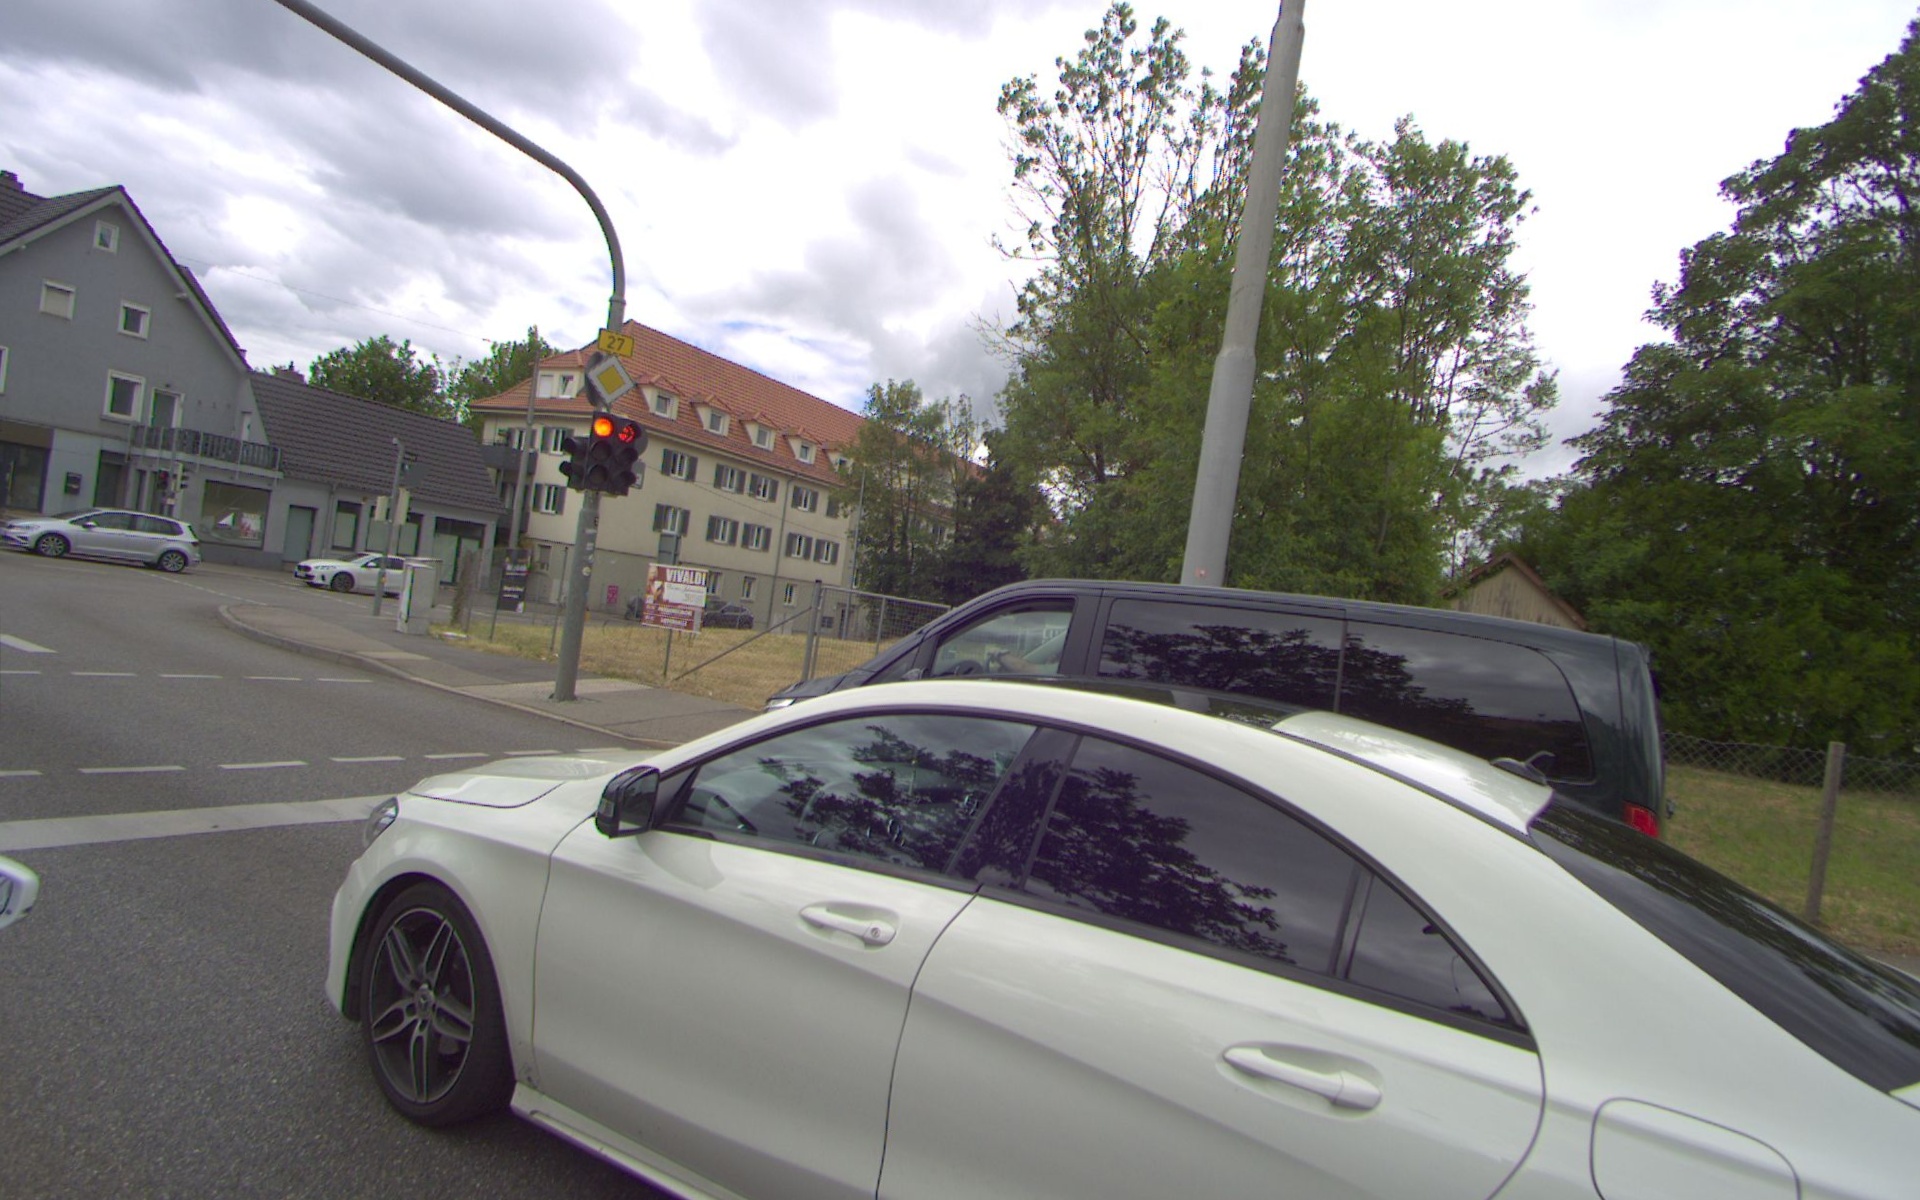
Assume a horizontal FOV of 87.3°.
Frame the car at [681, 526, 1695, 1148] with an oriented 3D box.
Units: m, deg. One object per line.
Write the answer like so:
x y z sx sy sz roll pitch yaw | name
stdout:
0.944 0.828 5.502 4.631 1.860 1.953 7 -2 32 | car

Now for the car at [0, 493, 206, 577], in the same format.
-24.051 -1.774 28.263 1.799 1.557 4.109 7 -3 33 | car

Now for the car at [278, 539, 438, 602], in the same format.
-20.677 -0.972 34.747 1.965 1.494 4.254 7 -2 27 | car

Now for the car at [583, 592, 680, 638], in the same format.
-15.519 0.740 47.657 1.839 1.554 3.996 7 -2 32 | car

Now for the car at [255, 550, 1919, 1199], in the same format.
0.162 0.845 2.638 4.305 1.451 1.651 7 0 32 | car

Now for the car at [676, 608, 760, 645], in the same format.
-12.624 1.403 52.646 1.839 1.393 3.996 7 -2 32 | car
